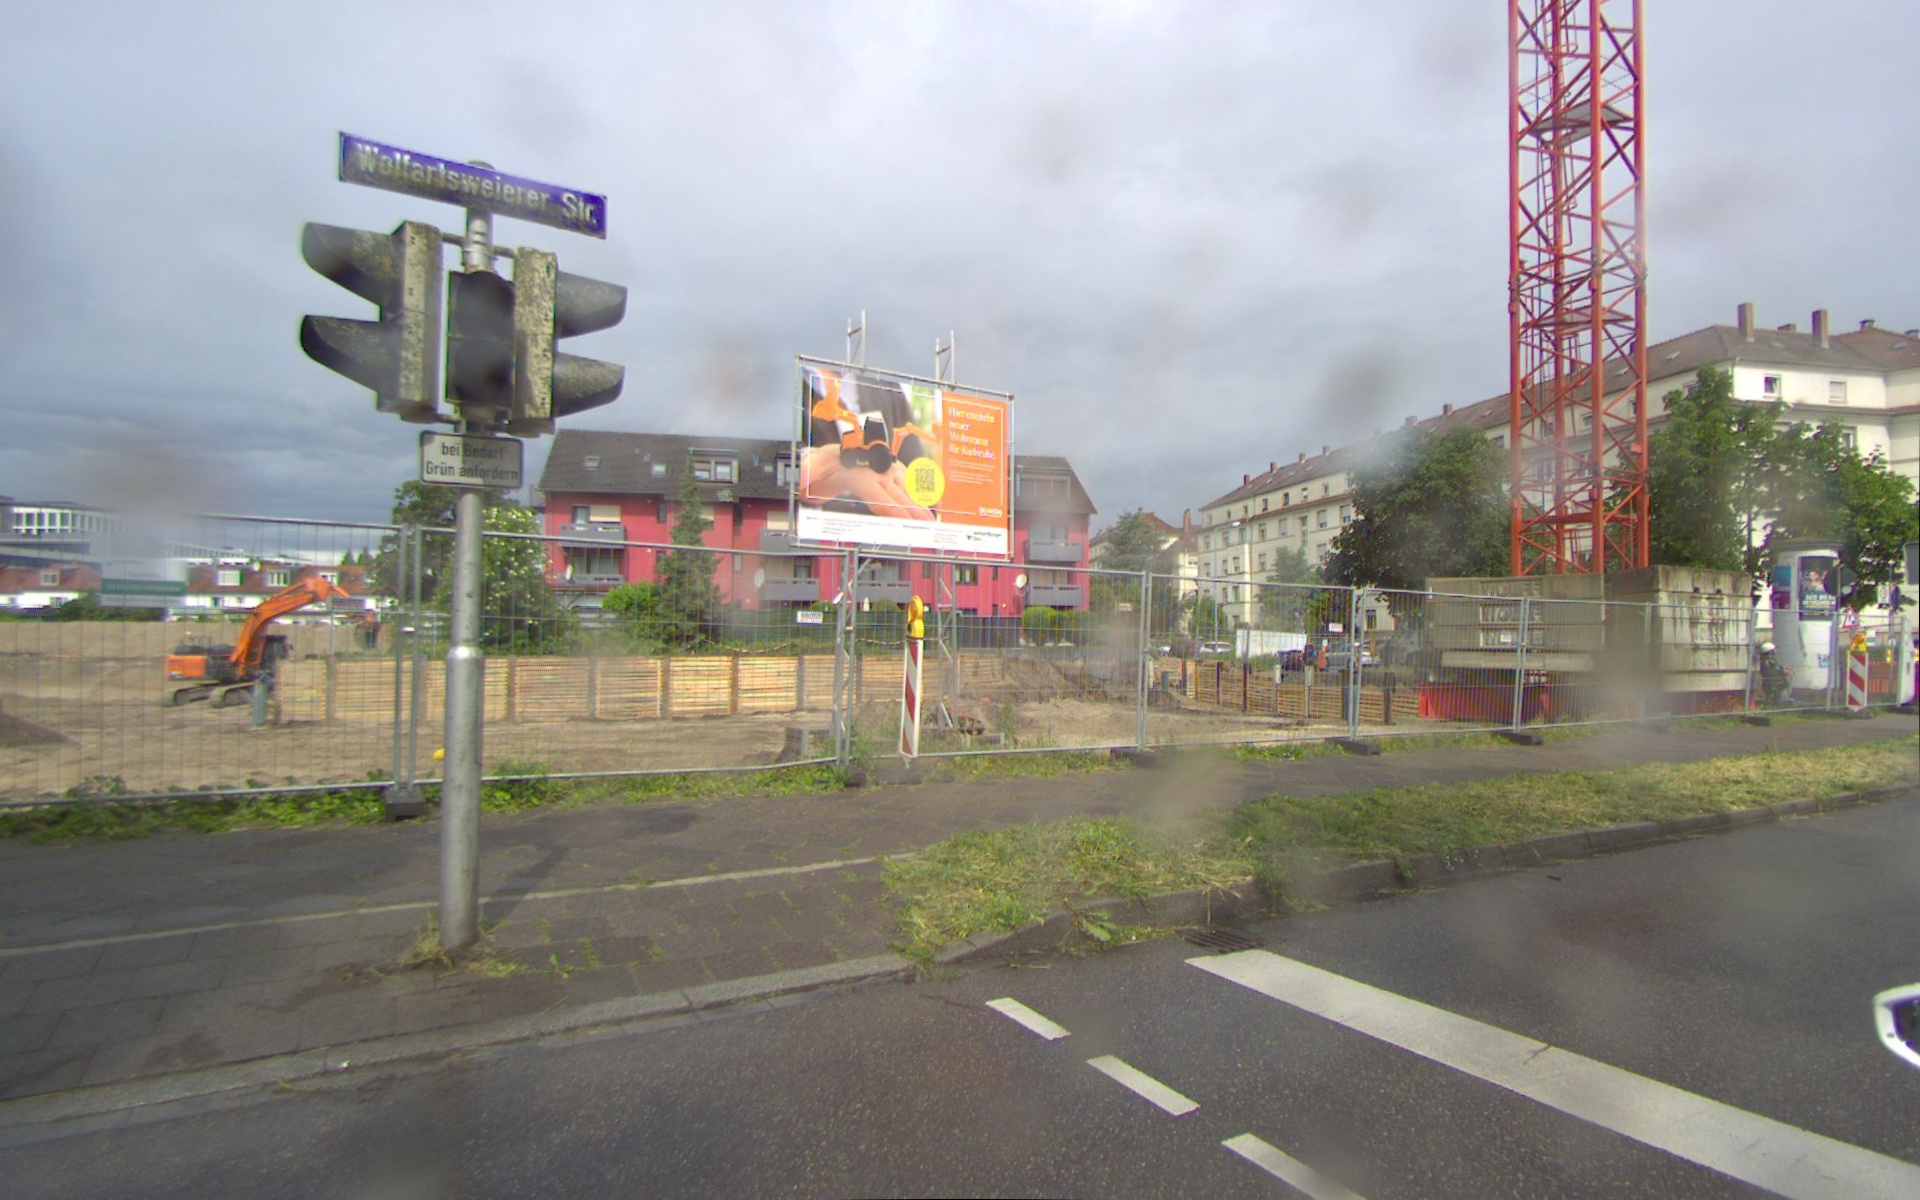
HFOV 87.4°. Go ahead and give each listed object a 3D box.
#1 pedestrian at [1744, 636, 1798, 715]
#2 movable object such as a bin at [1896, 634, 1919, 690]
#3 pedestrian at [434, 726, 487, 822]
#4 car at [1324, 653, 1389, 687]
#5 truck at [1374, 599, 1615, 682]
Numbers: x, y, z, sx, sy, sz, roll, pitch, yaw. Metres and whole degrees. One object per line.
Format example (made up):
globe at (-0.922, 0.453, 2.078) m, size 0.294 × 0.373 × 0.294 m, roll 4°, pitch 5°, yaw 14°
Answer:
pedestrian at (17.796, 1.637, 22.056) m, size 0.710 × 1.651 × 0.684 m, roll 2°, pitch -1°, yaw 23°
movable object such as a bin at (32.385, 2.048, 33.290) m, size 1.241 × 1.848 × 1.540 m, roll 0°, pitch -2°, yaw -11°
pedestrian at (-9.382, 3.249, 18.892) m, size 0.837 × 1.706 × 0.585 m, roll 1°, pitch -5°, yaw -25°
car at (23.456, 4.188, 59.598) m, size 1.770 × 1.888 × 3.996 m, roll 0°, pitch -5°, yaw -9°
truck at (23.188, 1.843, 44.544) m, size 3.729 × 3.225 × 9.816 m, roll 1°, pitch -3°, yaw -15°
